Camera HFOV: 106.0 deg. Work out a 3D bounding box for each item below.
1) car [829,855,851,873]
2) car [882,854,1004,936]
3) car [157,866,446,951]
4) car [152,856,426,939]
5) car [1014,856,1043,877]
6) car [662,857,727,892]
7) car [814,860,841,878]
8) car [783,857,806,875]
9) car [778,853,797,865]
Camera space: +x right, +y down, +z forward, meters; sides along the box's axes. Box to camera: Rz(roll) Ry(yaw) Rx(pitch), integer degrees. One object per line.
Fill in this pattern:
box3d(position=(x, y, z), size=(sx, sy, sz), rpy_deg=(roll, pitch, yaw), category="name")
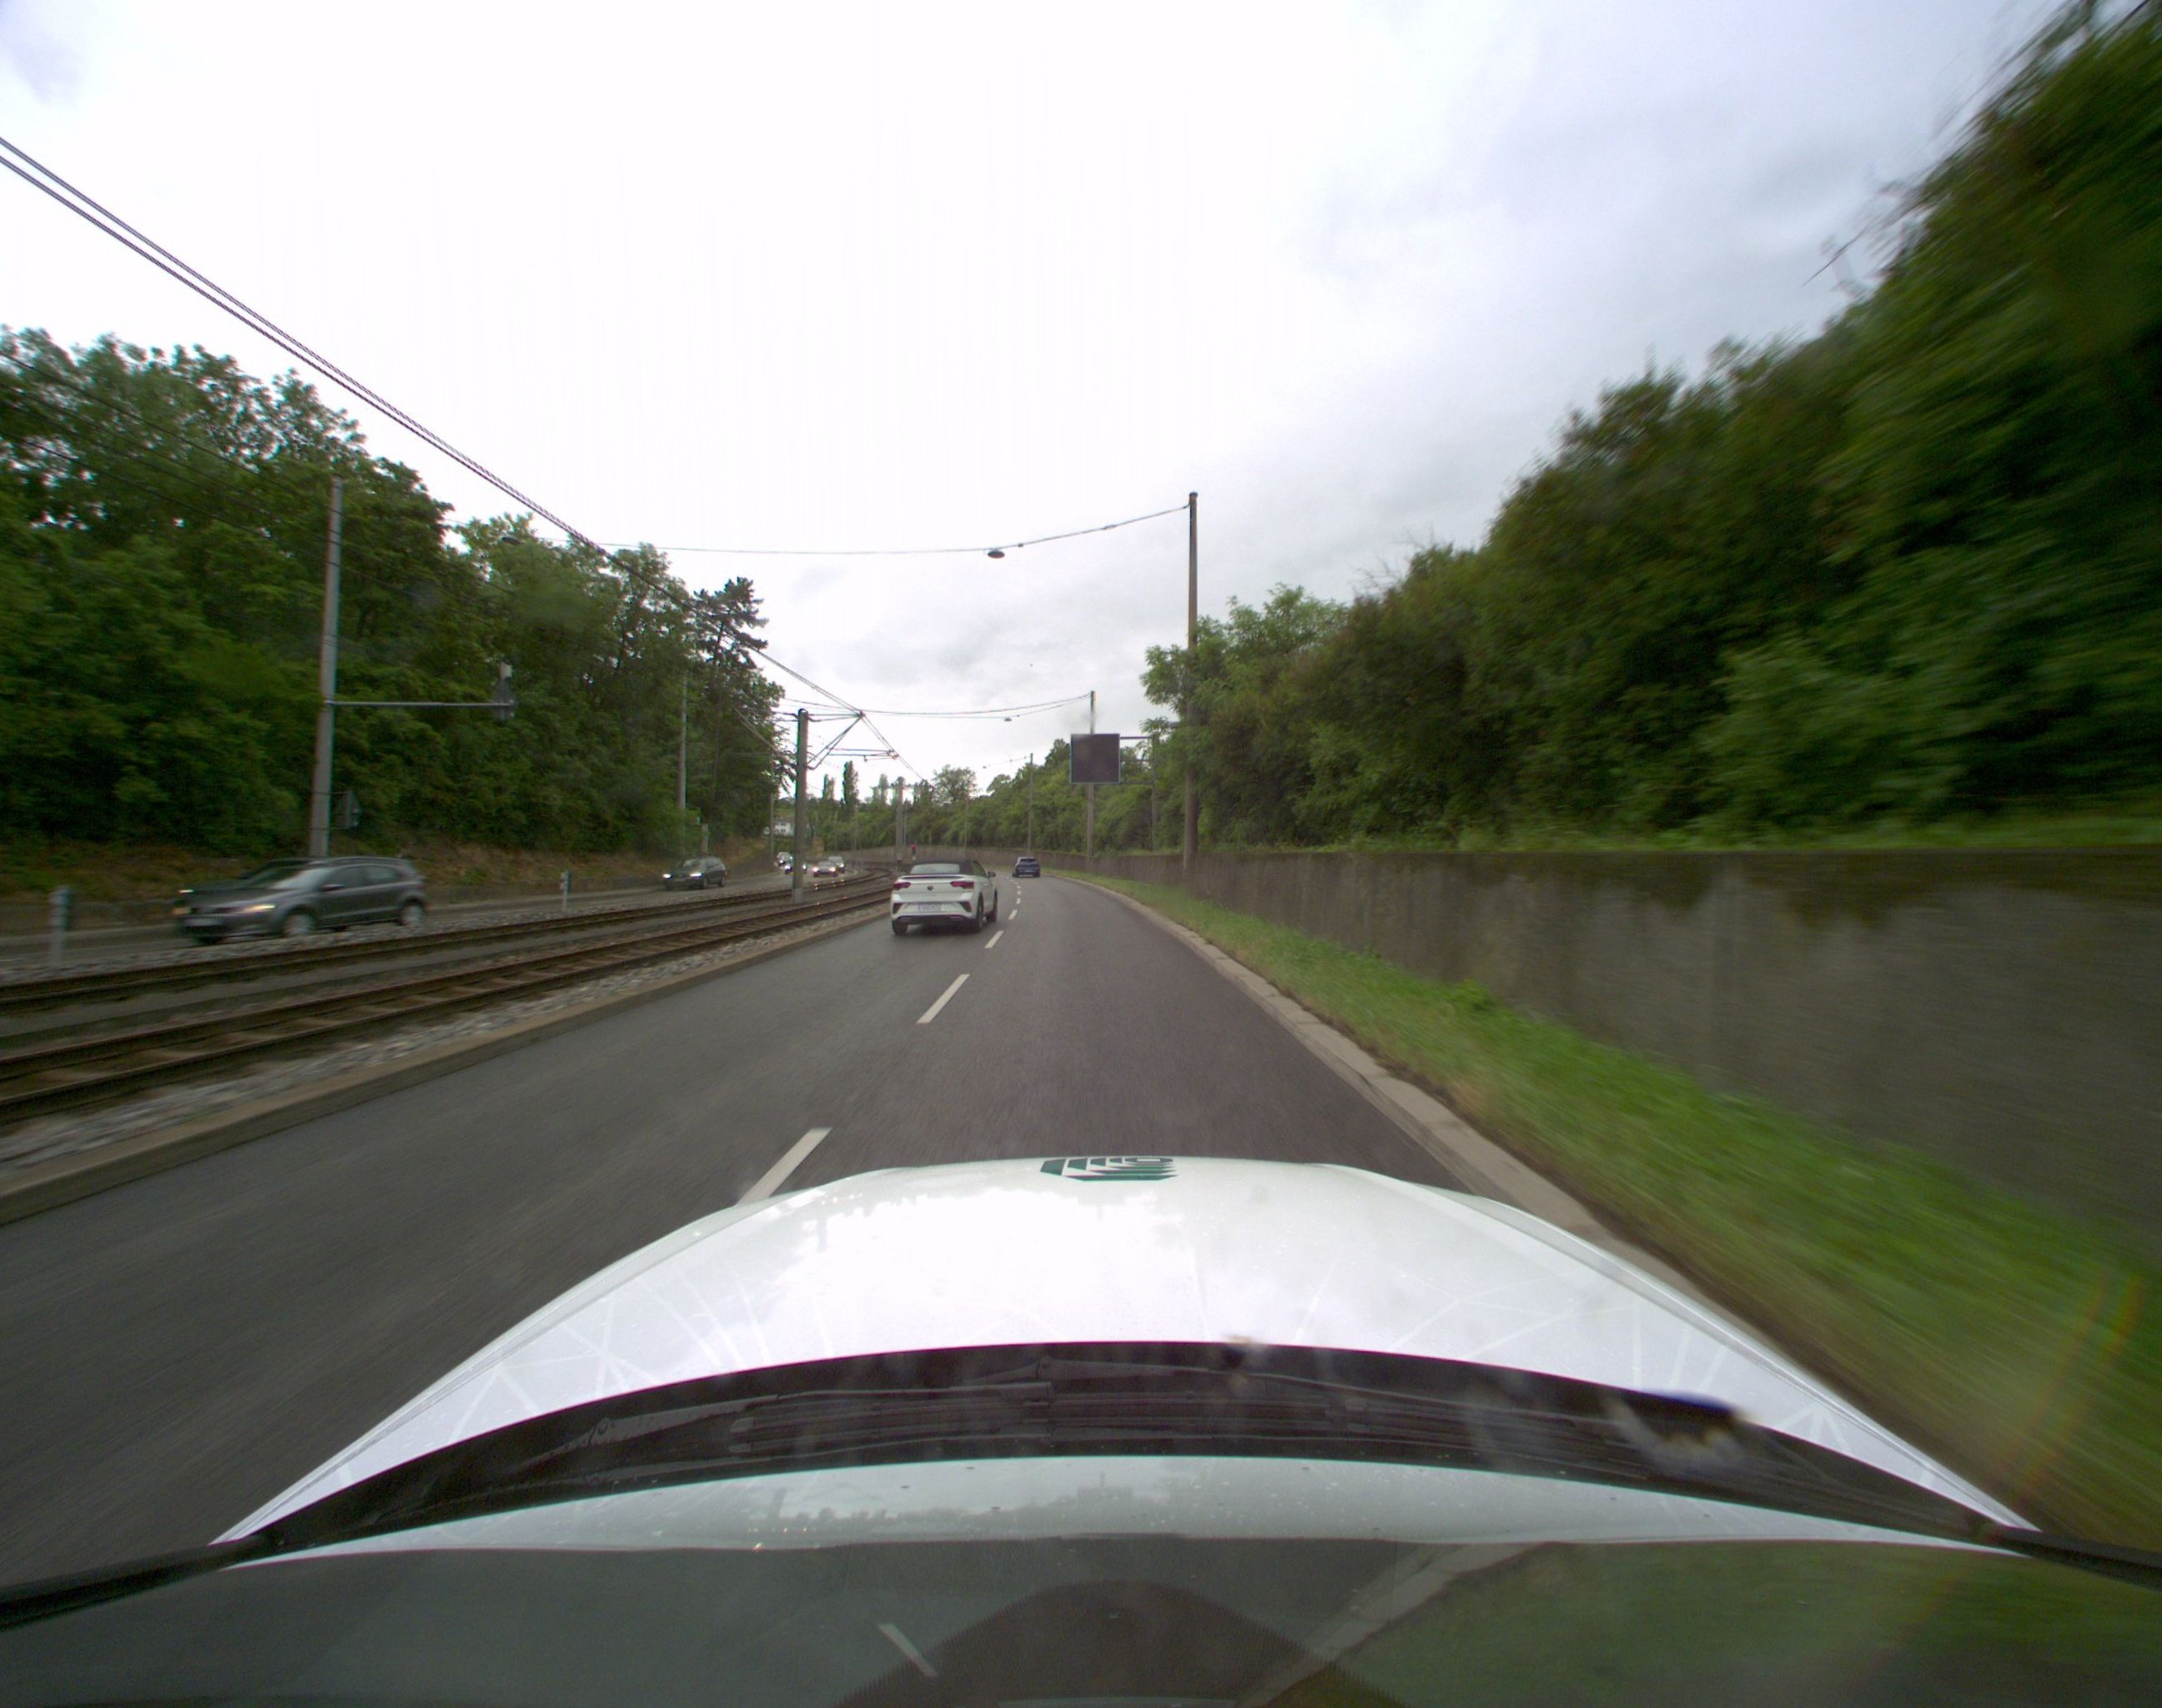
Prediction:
box3d(position=(-22.002, 0.890, 74.305), size=(1.544, 1.491, 3.596), rpy_deg=(-3, 0, -21), category="car")
box3d(position=(-2.852, 0.783, 17.899), size=(1.865, 1.524, 4.540), rpy_deg=(-1, 0, 0), category="car")
box3d(position=(-14.888, 0.958, 15.922), size=(1.700, 1.415, 4.033), rpy_deg=(0, 0, 1), category="car")
box3d(position=(-18.160, 0.900, 19.084), size=(1.779, 1.669, 4.738), rpy_deg=(-1, 0, -1), category="car")
box3d(position=(-3.835, 0.875, 58.890), size=(1.762, 1.501, 3.988), rpy_deg=(0, 0, -8), category="car")
box3d(position=(-19.352, 0.976, 41.015), size=(1.707, 1.607, 4.398), rpy_deg=(-2, 0, -9), category="car")
box3d(position=(-19.322, 1.114, 62.107), size=(1.545, 1.258, 3.943), rpy_deg=(-2, 0, -12), category="car")
box3d(position=(-25.793, 1.051, 73.474), size=(1.821, 1.462, 4.631), rpy_deg=(-2, 0, -18), category="car")
box3d(position=(-41.163, 0.746, 114.199), size=(1.938, 1.603, 4.182), rpy_deg=(-2, 1, -27), category="car")
